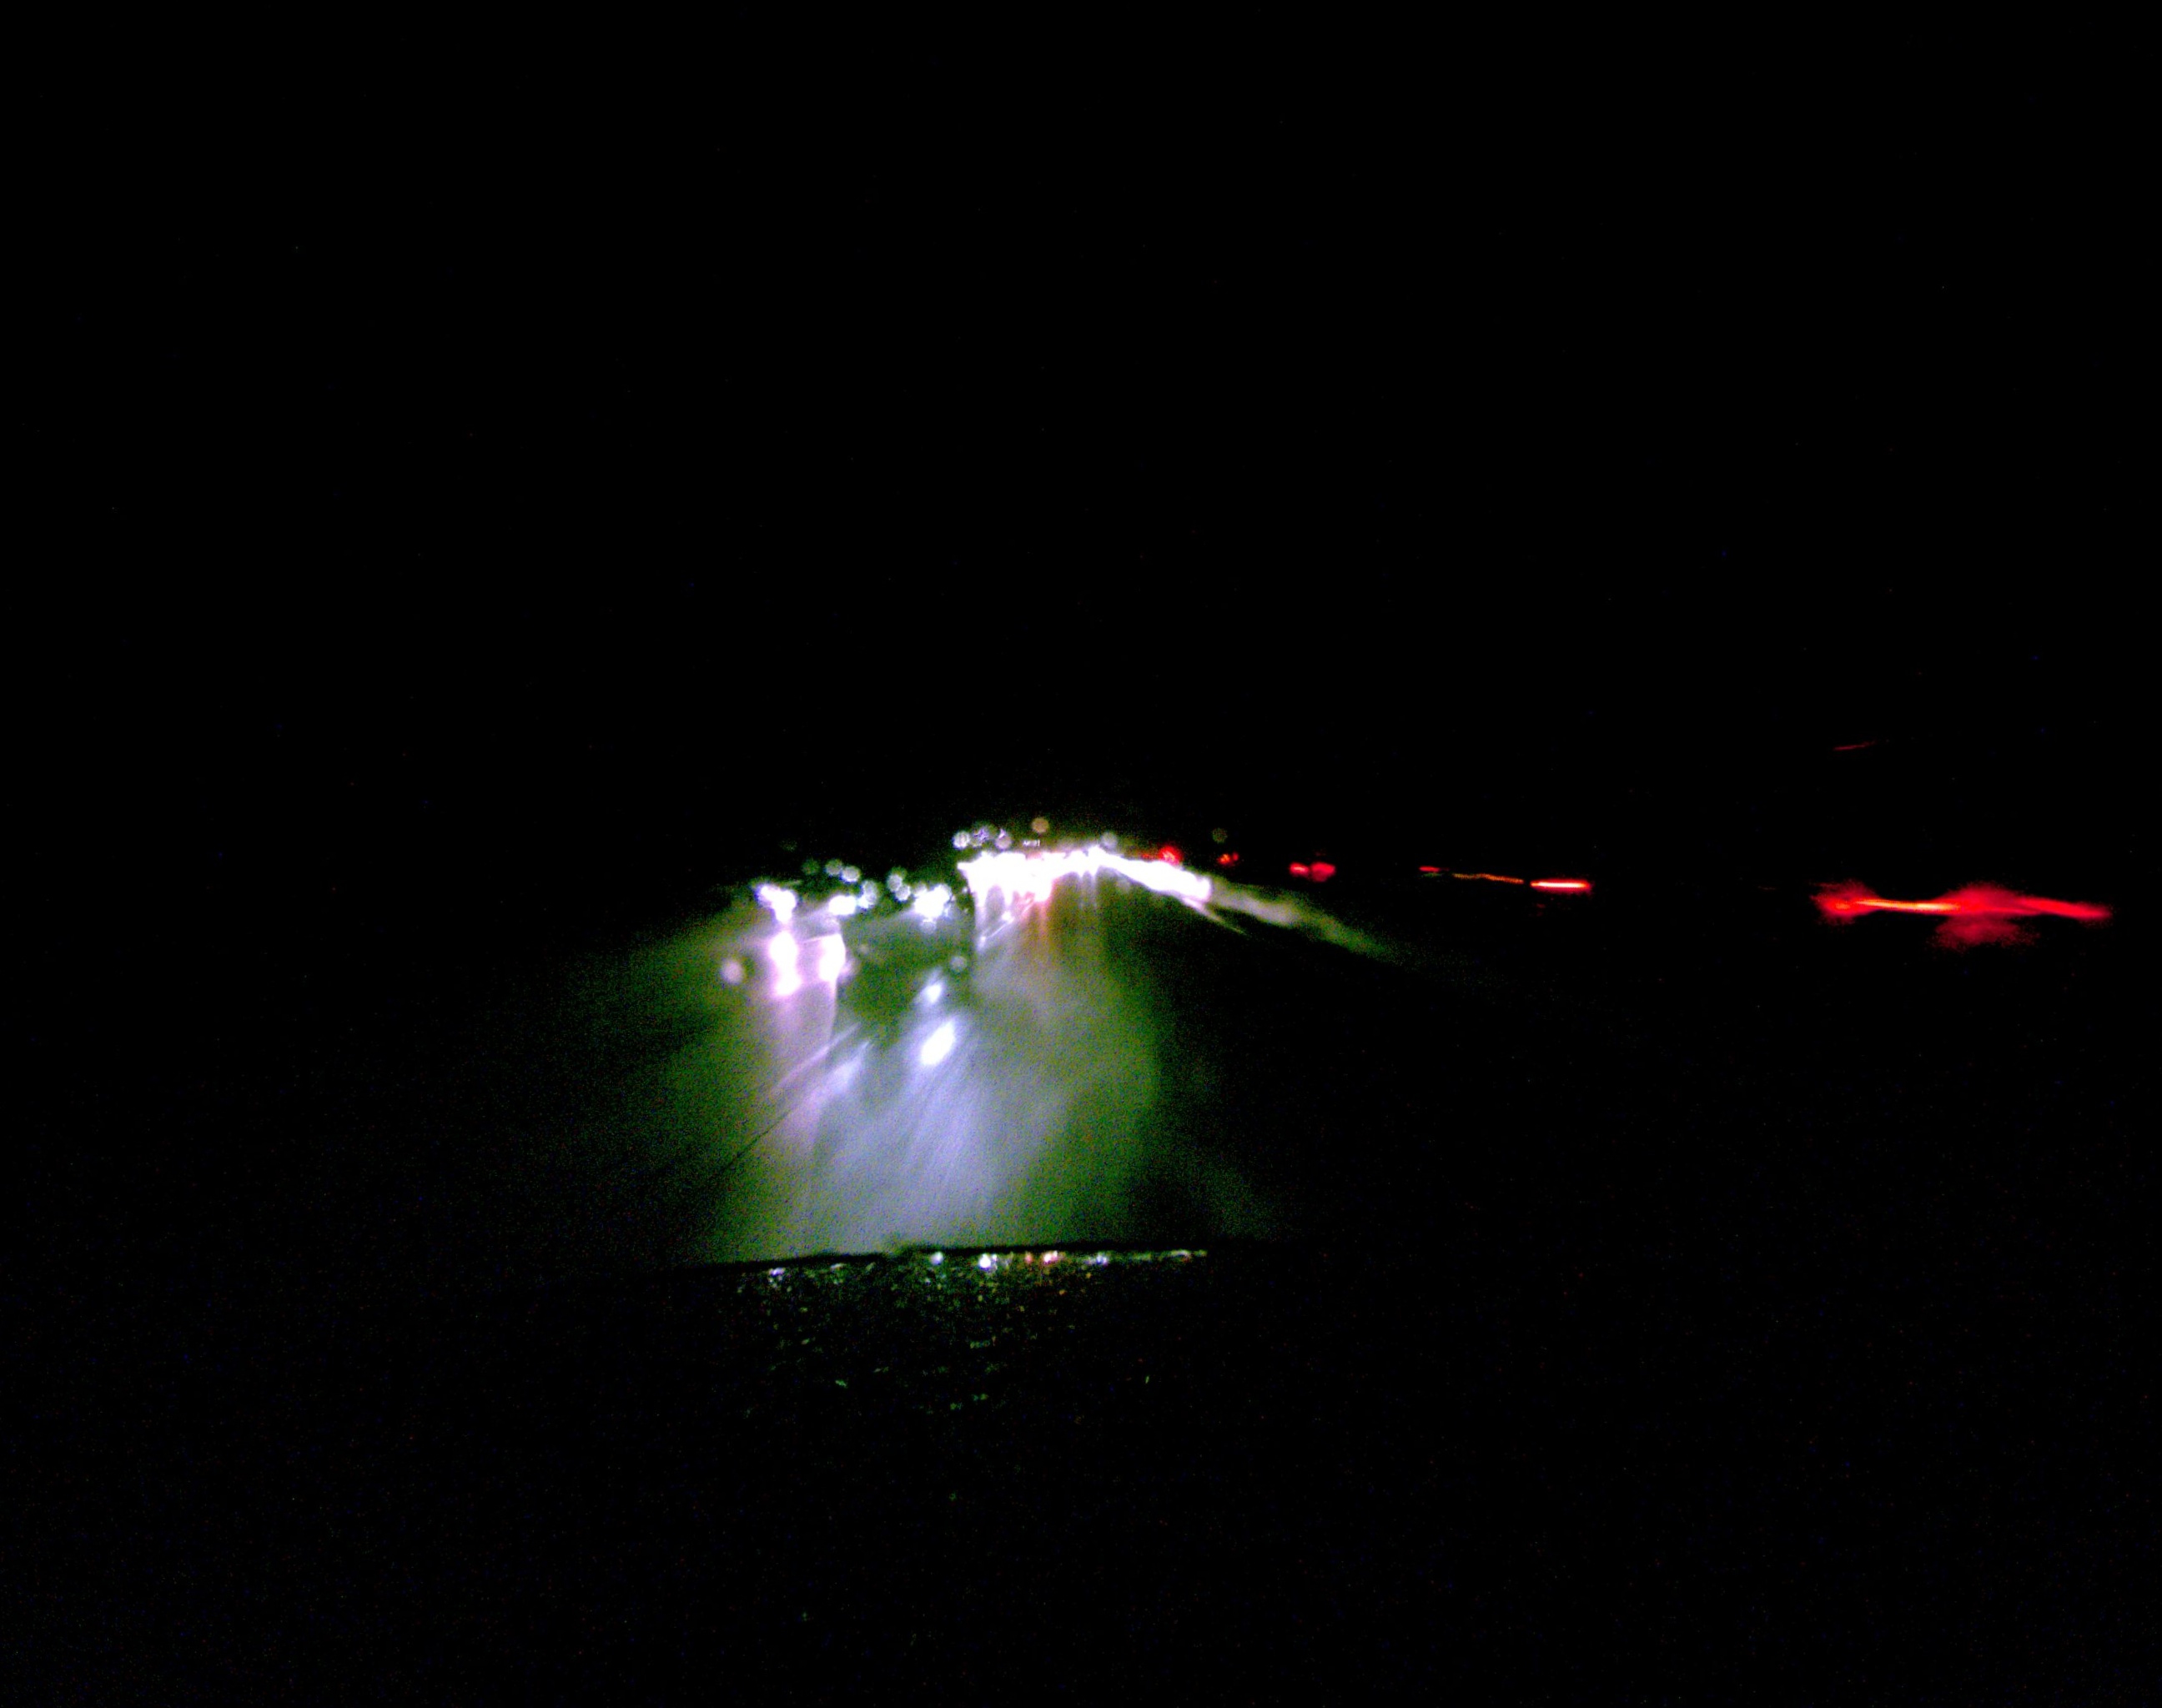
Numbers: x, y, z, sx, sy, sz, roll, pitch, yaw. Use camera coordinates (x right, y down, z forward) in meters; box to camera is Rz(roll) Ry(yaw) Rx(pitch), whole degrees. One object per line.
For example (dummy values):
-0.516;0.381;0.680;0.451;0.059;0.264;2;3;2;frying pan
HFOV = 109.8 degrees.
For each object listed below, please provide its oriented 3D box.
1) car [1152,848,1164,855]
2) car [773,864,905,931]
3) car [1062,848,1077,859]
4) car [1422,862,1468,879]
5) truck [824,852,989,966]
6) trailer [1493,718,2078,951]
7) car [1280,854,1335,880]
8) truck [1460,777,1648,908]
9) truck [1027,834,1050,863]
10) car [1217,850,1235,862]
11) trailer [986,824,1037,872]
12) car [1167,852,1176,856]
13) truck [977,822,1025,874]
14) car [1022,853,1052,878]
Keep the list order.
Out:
15.035;-0.454;148.115;1.998;1.407;4.589;0;0;1;car
-6.352;1.066;20.686;1.747;1.470;5.366;-2;0;1;car
-1.757;-0.115;118.330;1.944;1.521;4.000;-2;1;2;car
24.704;1.108;51.681;1.412;1.119;3.541;0;0;1;car
-3.037;0.857;14.397;1.848;1.686;4.854;-2;1;1;truck
16.922;-0.371;21.256;3.055;4.268;14.408;1;0;1;trailer
13.002;0.726;43.860;1.998;1.412;4.000;0;0;1;car
16.979;-0.386;27.880;3.062;4.268;6.083;1;0;1;truck
-6.291;-0.855;113.708;2.778;4.168;6.016;-3;1;2;truck
24.583;0.342;129.040;1.998;1.936;5.386;0;0;1;car
-6.397;-0.603;72.537;2.871;4.074;13.641;-2;1;2;trailer
22.828;-0.026;191.070;1.642;1.096;4.045;-2;1;0;car
-6.746;-0.516;65.097;2.866;4.079;7.014;-3;1;2;truck
-2.904;0.748;51.027;1.619;1.494;3.767;-2;1;2;car
